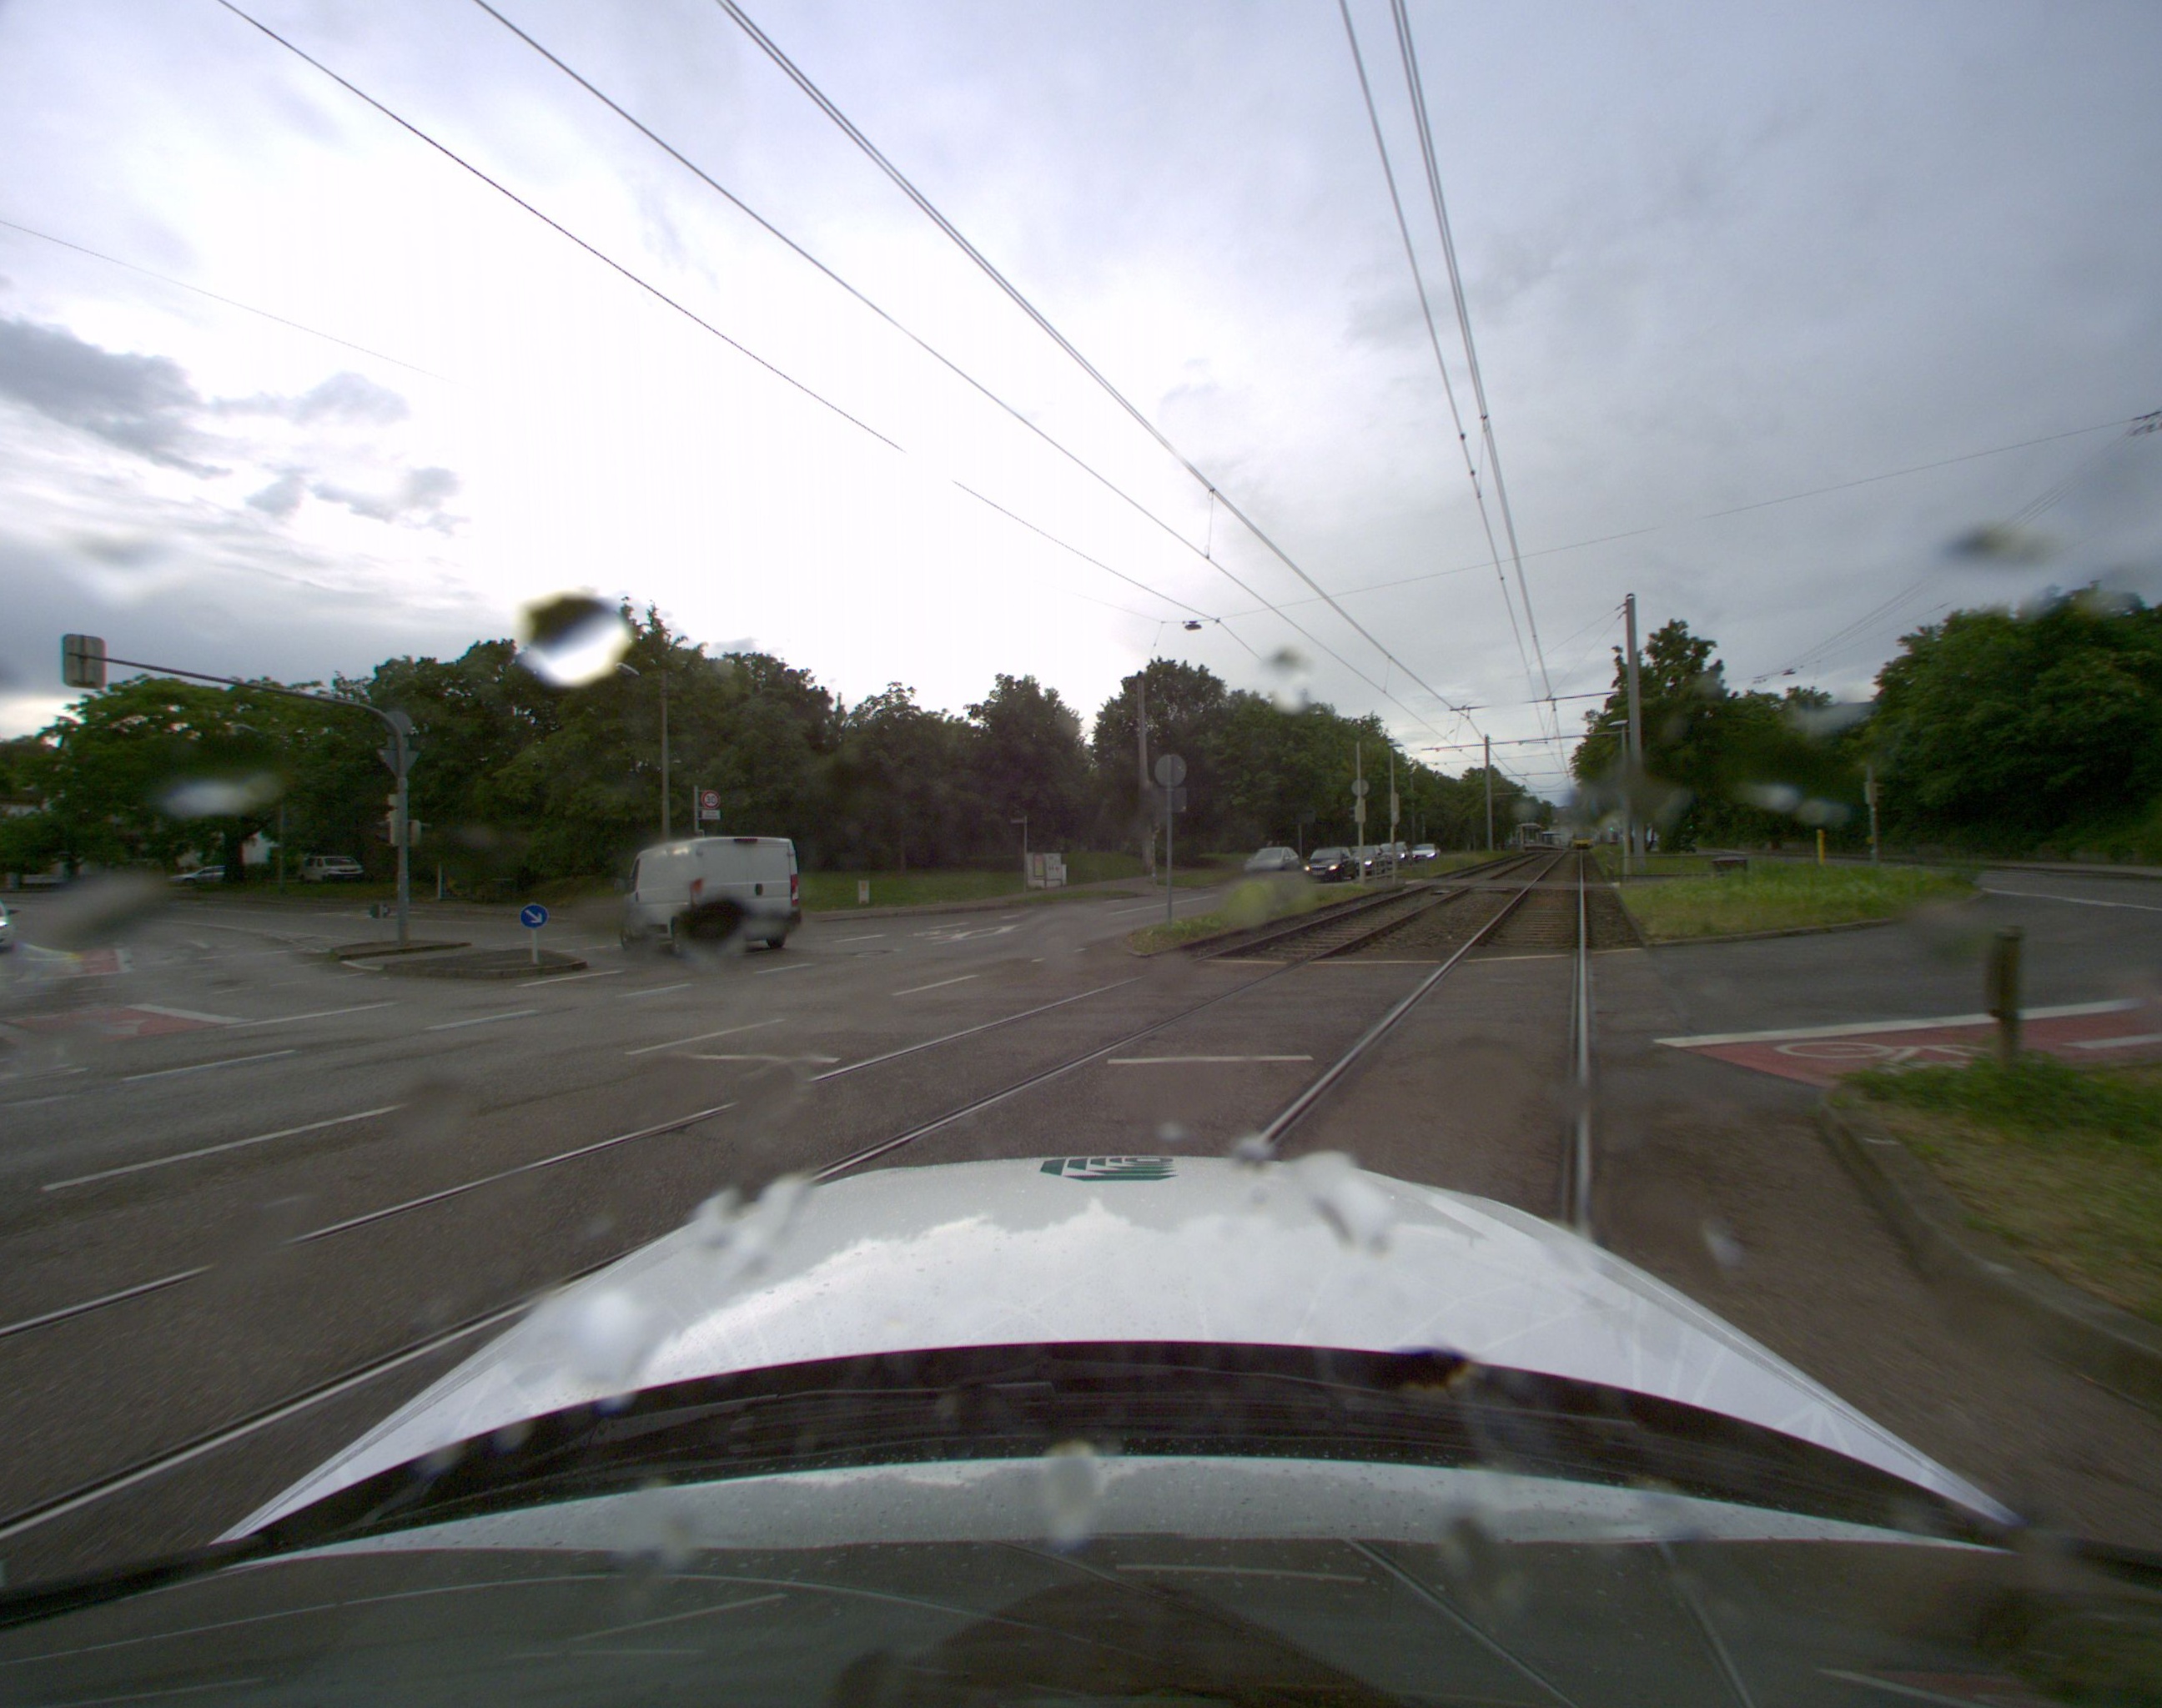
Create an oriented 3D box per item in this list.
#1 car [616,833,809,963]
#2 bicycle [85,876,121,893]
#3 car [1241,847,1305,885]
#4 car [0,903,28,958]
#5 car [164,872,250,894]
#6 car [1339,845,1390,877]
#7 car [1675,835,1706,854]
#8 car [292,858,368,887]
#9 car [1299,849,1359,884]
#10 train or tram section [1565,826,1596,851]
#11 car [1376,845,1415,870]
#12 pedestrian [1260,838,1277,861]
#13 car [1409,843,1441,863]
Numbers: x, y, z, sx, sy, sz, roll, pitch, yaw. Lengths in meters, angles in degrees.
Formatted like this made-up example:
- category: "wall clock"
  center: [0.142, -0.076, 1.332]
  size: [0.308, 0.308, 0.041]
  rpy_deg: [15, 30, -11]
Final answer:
- category: "car"
  center: [-7.817, 0.794, 16.995]
  size: [2.165, 2.283, 5.001]
  rpy_deg: [-2, 1, -42]
- category: "bicycle"
  center: [-71.187, 2.194, 59.274]
  size: [0.451, 1.115, 1.586]
  rpy_deg: [0, 1, 29]
- category: "car"
  center: [9.084, 0.536, 38.347]
  size: [1.702, 1.554, 3.887]
  rpy_deg: [-4, -1, 31]
- category: "car"
  center: [-31.684, 2.210, 23.313]
  size: [3.948, 1.482, 1.703]
  rpy_deg: [-3, -1, 40]
- category: "car"
  center: [-65.803, 2.196, 61.398]
  size: [1.683, 1.422, 4.022]
  rpy_deg: [-2, 0, 23]
- category: "car"
  center: [14.273, 0.338, 40.868]
  size: [1.585, 1.402, 3.816]
  rpy_deg: [-4, -1, 31]
- category: "car"
  center: [50.681, -0.823, 67.786]
  size: [1.687, 1.521, 3.815]
  rpy_deg: [0, 1, 30]
- category: "car"
  center: [-49.497, 1.202, 53.628]
  size: [5.082, 1.805, 2.012]
  rpy_deg: [0, -2, 28]
- category: "car"
  center: [10.834, 0.497, 35.411]
  size: [1.586, 1.401, 3.816]
  rpy_deg: [0, 1, 31]
- category: "train or tram section"
  center: [83.044, -2.619, 135.221]
  size: [4.021, 3.893, 15.136]
  rpy_deg: [0, 1, 33]
- category: "car"
  center: [18.836, 0.192, 48.692]
  size: [1.586, 1.401, 3.816]
  rpy_deg: [0, 1, 31]
- category: "pedestrian"
  center: [13.611, -0.330, 59.140]
  size: [1.004, 1.601, 1.046]
  rpy_deg: [-1, 0, 26]
- category: "car"
  center: [26.004, -0.083, 61.499]
  size: [1.585, 1.402, 3.816]
  rpy_deg: [-3, -1, 31]
